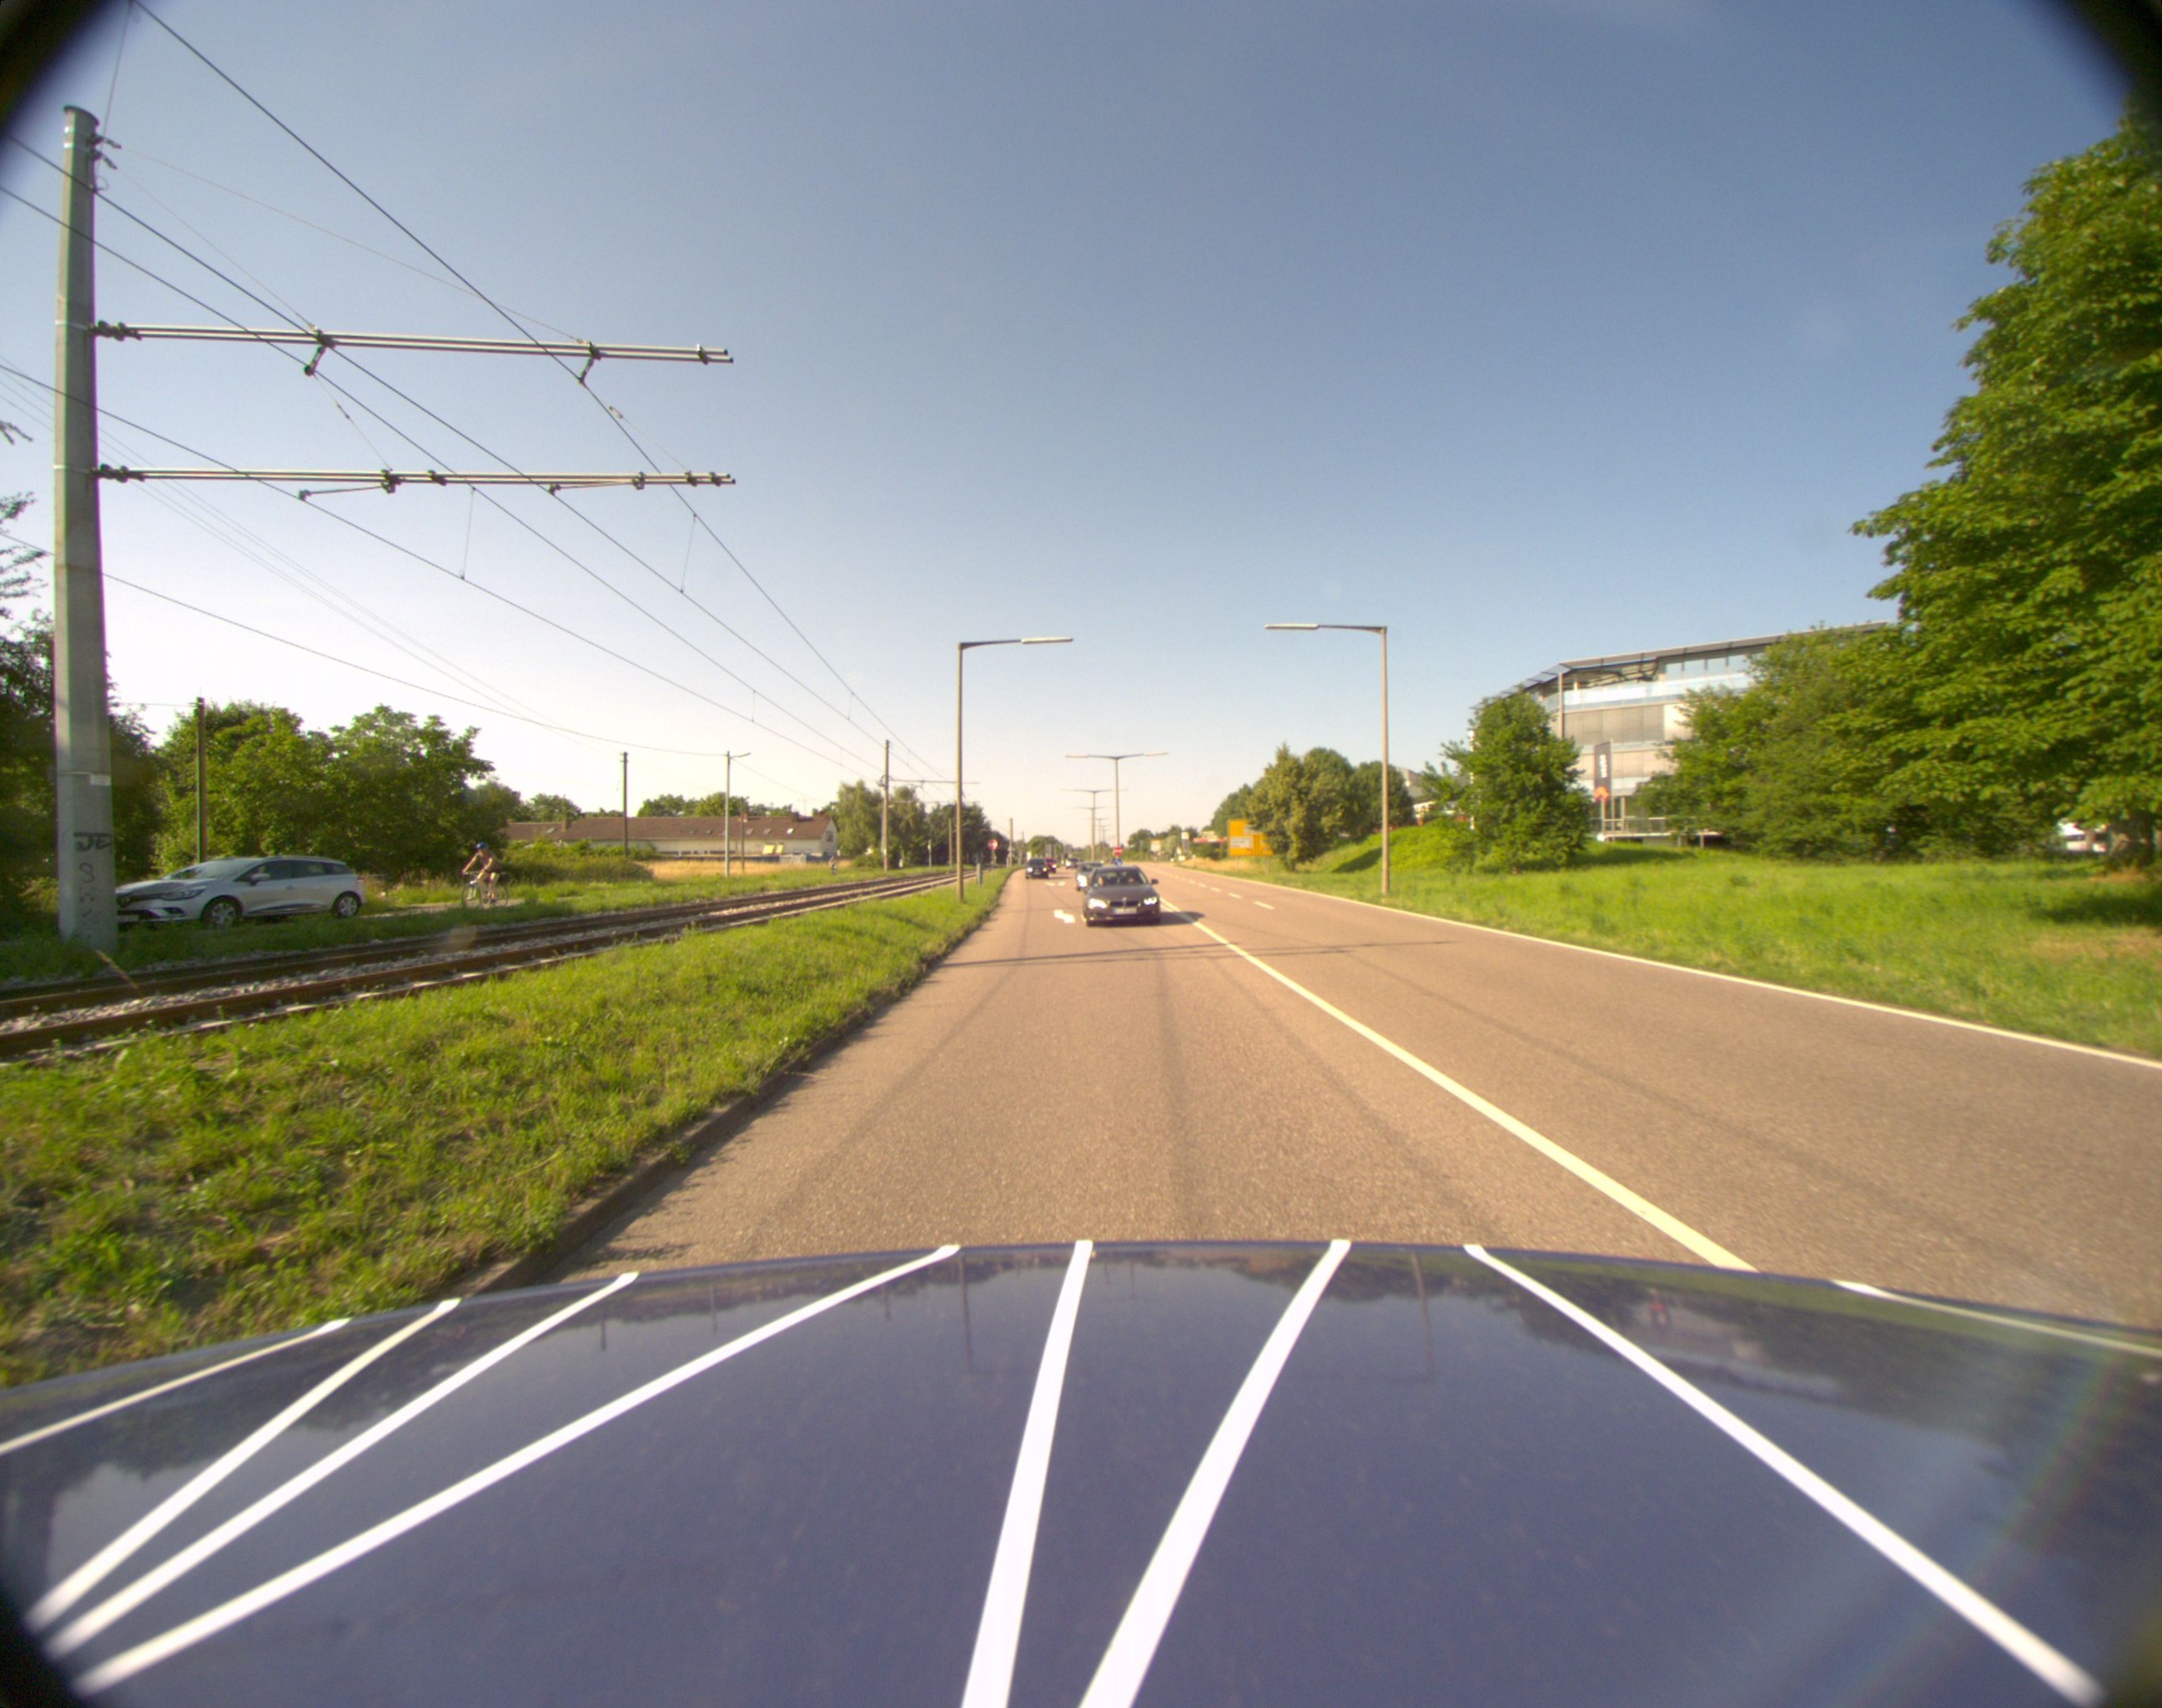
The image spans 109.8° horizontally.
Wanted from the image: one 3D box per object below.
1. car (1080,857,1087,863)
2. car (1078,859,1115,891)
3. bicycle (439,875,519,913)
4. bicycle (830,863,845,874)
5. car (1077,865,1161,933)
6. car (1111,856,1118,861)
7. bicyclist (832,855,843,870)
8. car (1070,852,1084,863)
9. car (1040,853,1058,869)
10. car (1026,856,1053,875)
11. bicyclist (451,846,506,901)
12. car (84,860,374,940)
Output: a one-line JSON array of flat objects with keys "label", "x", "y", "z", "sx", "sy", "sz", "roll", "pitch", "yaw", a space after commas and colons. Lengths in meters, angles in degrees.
[{"label": "car", "x": 0.741, "y": 1.831, "z": 233.197, "sx": 1.837, "sy": 1.504, "sz": 4.152, "roll": -3, "pitch": 0, "yaw": -4}, {"label": "car", "x": 0.801, "y": 1.040, "z": 38.382, "sx": 1.710, "sy": 1.444, "sz": 4.591, "roll": -2, "pitch": -1, "yaw": 2}, {"label": "bicycle", "x": -15.950, "y": 1.047, "z": 20.183, "sx": 0.644, "sy": 0.904, "sz": 1.844, "roll": -2, "pitch": 0, "yaw": 0}, {"label": "bicycle", "x": -20.495, "y": 1.209, "z": 64.024, "sx": 0.644, "sy": 0.904, "sz": 1.813, "roll": -2, "pitch": 0, "yaw": -1}, {"label": "car", "x": 0.877, "y": 1.055, "z": 19.517, "sx": 1.748, "sy": 1.444, "sz": 3.945, "roll": -2, "pitch": 0, "yaw": -2}, {"label": "car", "x": 9.494, "y": 1.277, "z": 216.909, "sx": 1.563, "sy": 1.369, "sz": 3.384, "roll": -3, "pitch": 1, "yaw": -6}, {"label": "bicyclist", "x": -20.518, "y": 0.687, "z": 63.973, "sx": 0.641, "sy": 1.226, "sz": 0.791, "roll": -2, "pitch": 0, "yaw": -1}, {"label": "car", "x": -0.559, "y": 0.487, "z": 105.935, "sx": 1.968, "sy": 1.504, "sz": 4.808, "roll": -1, "pitch": 0, "yaw": 0}, {"label": "car", "x": -3.262, "y": 0.741, "z": 77.528, "sx": 1.607, "sy": 1.504, "sz": 4.268, "roll": -3, "pitch": 0, "yaw": 0}, {"label": "car", "x": -3.264, "y": 0.913, "z": 60.251, "sx": 1.847, "sy": 1.347, "sz": 4.154, "roll": -3, "pitch": 0, "yaw": 0}, {"label": "bicyclist", "x": -15.962, "y": 0.504, "z": 20.145, "sx": 0.631, "sy": 1.414, "sz": 0.962, "roll": -2, "pitch": 0, "yaw": 0}, {"label": "car", "x": -17.387, "y": 0.844, "z": 15.864, "sx": 1.538, "sy": 1.439, "sz": 4.130, "roll": 0, "pitch": 0, "yaw": -3}]
